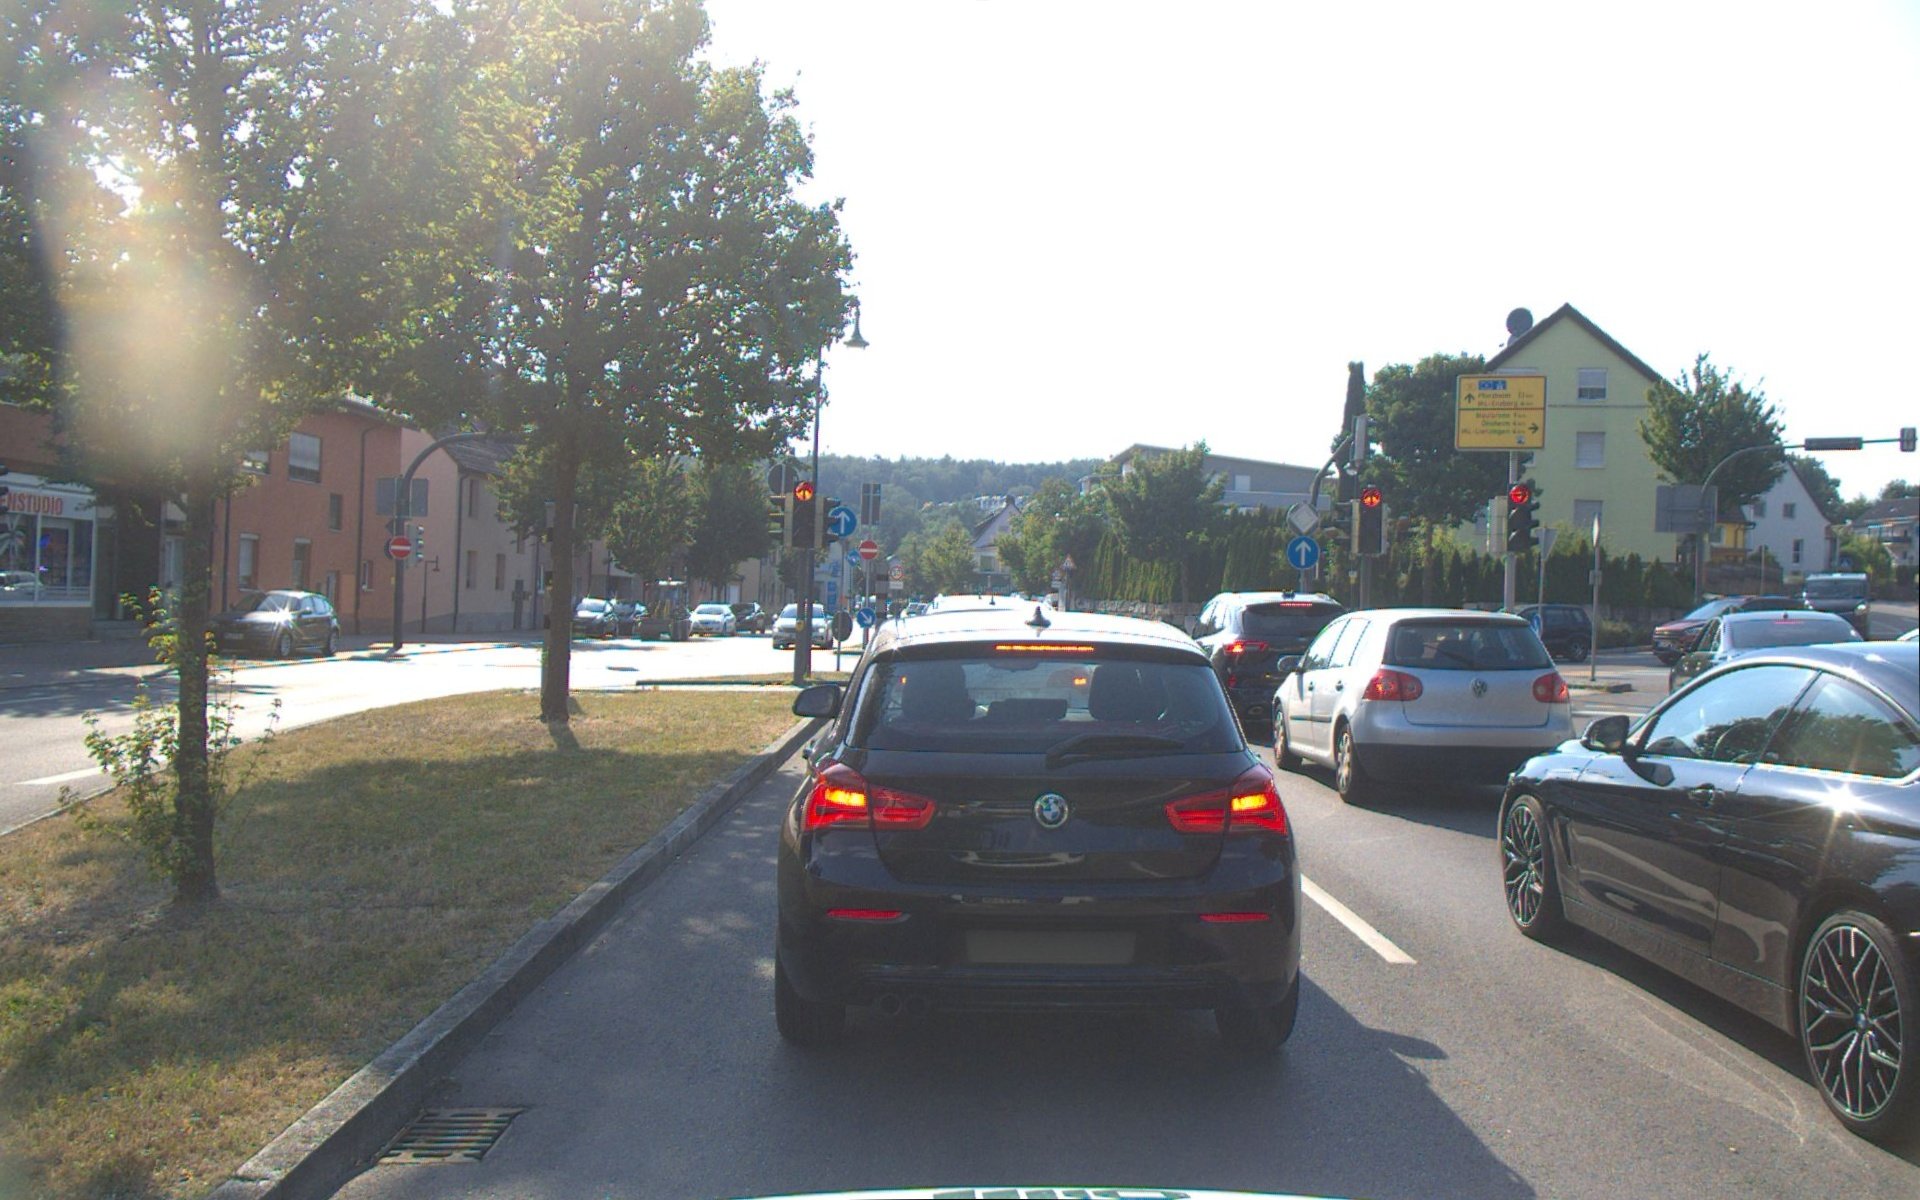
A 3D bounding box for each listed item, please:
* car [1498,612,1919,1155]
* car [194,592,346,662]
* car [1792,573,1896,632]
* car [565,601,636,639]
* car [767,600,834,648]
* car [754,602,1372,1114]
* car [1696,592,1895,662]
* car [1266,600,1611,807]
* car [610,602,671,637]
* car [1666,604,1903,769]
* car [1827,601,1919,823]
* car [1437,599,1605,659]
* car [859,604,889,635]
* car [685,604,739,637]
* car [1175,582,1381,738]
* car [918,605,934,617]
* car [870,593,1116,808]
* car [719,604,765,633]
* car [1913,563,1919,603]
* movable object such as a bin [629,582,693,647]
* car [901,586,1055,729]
[{"bbox_3d":[3.466,0.785,5.835,1.725,1.422,4.280,-1,0,0],"label":"car"},{"bbox_3d":[-15.475,0.572,37.310,1.702,1.323,3.999,5,0,-1],"label":"car"},{"bbox_3d":[28.104,0.098,52.509,1.815,1.770,4.755,1,0,42],"label":"car"},{"bbox_3d":[-14.499,0.804,66.924,1.701,1.323,4.001,5,0,3],"label":"car"},{"bbox_3d":[-5.306,0.782,55.549,1.801,1.508,4.000,1,0,0],"label":"car"},{"bbox_3d":[0.291,0.735,6.855,1.751,1.422,4.280,-1,0,0],"label":"car"},{"bbox_3d":[21.213,0.674,42.041,4.339,1.670,1.842,1,0,-13],"label":"car"},{"bbox_3d":[3.788,0.740,13.791,1.725,1.451,3.902,-1,0,0],"label":"car"},{"bbox_3d":[-14.106,0.837,73.205,1.701,1.323,4.001,5,0,2],"label":"car"},{"bbox_3d":[9.042,0.853,18.476,1.621,1.569,4.401,-1,0,17],"label":"car"},{"bbox_3d":[7.617,0.799,11.643,1.583,1.569,3.320,-1,0,6],"label":"car"},{"bbox_3d":[15.166,0.764,44.850,3.907,1.515,1.847,1,0,-3],"label":"car"},{"bbox_3d":[-6.888,1.550,133.600,2.042,2.435,5.528,1,0,0],"label":"car"},{"bbox_3d":[-11.593,0.954,77.440,1.701,1.323,3.800,5,0,2],"label":"car"},{"bbox_3d":[3.742,0.648,20.074,1.725,1.685,3.902,-1,0,0],"label":"car"},{"bbox_3d":[-4.251,1.395,206.020,1.701,1.323,3.800,5,0,2],"label":"car"},{"bbox_3d":[0.232,0.715,14.000,1.751,1.520,4.280,-1,0,0],"label":"car"},{"bbox_3d":[-11.631,0.970,88.288,1.701,1.323,3.800,5,0,2],"label":"car"},{"bbox_3d":[41.871,-0.714,70.126,1.924,1.709,4.215,0,0,21],"label":"car"},{"bbox_3d":[-11.899,0.550,66.014,1.701,2.485,4.449,0,0,0],"label":"movable object such as a bin"},{"bbox_3d":[0.203,0.648,21.040,1.751,1.622,4.280,-1,0,0],"label":"car"}]
